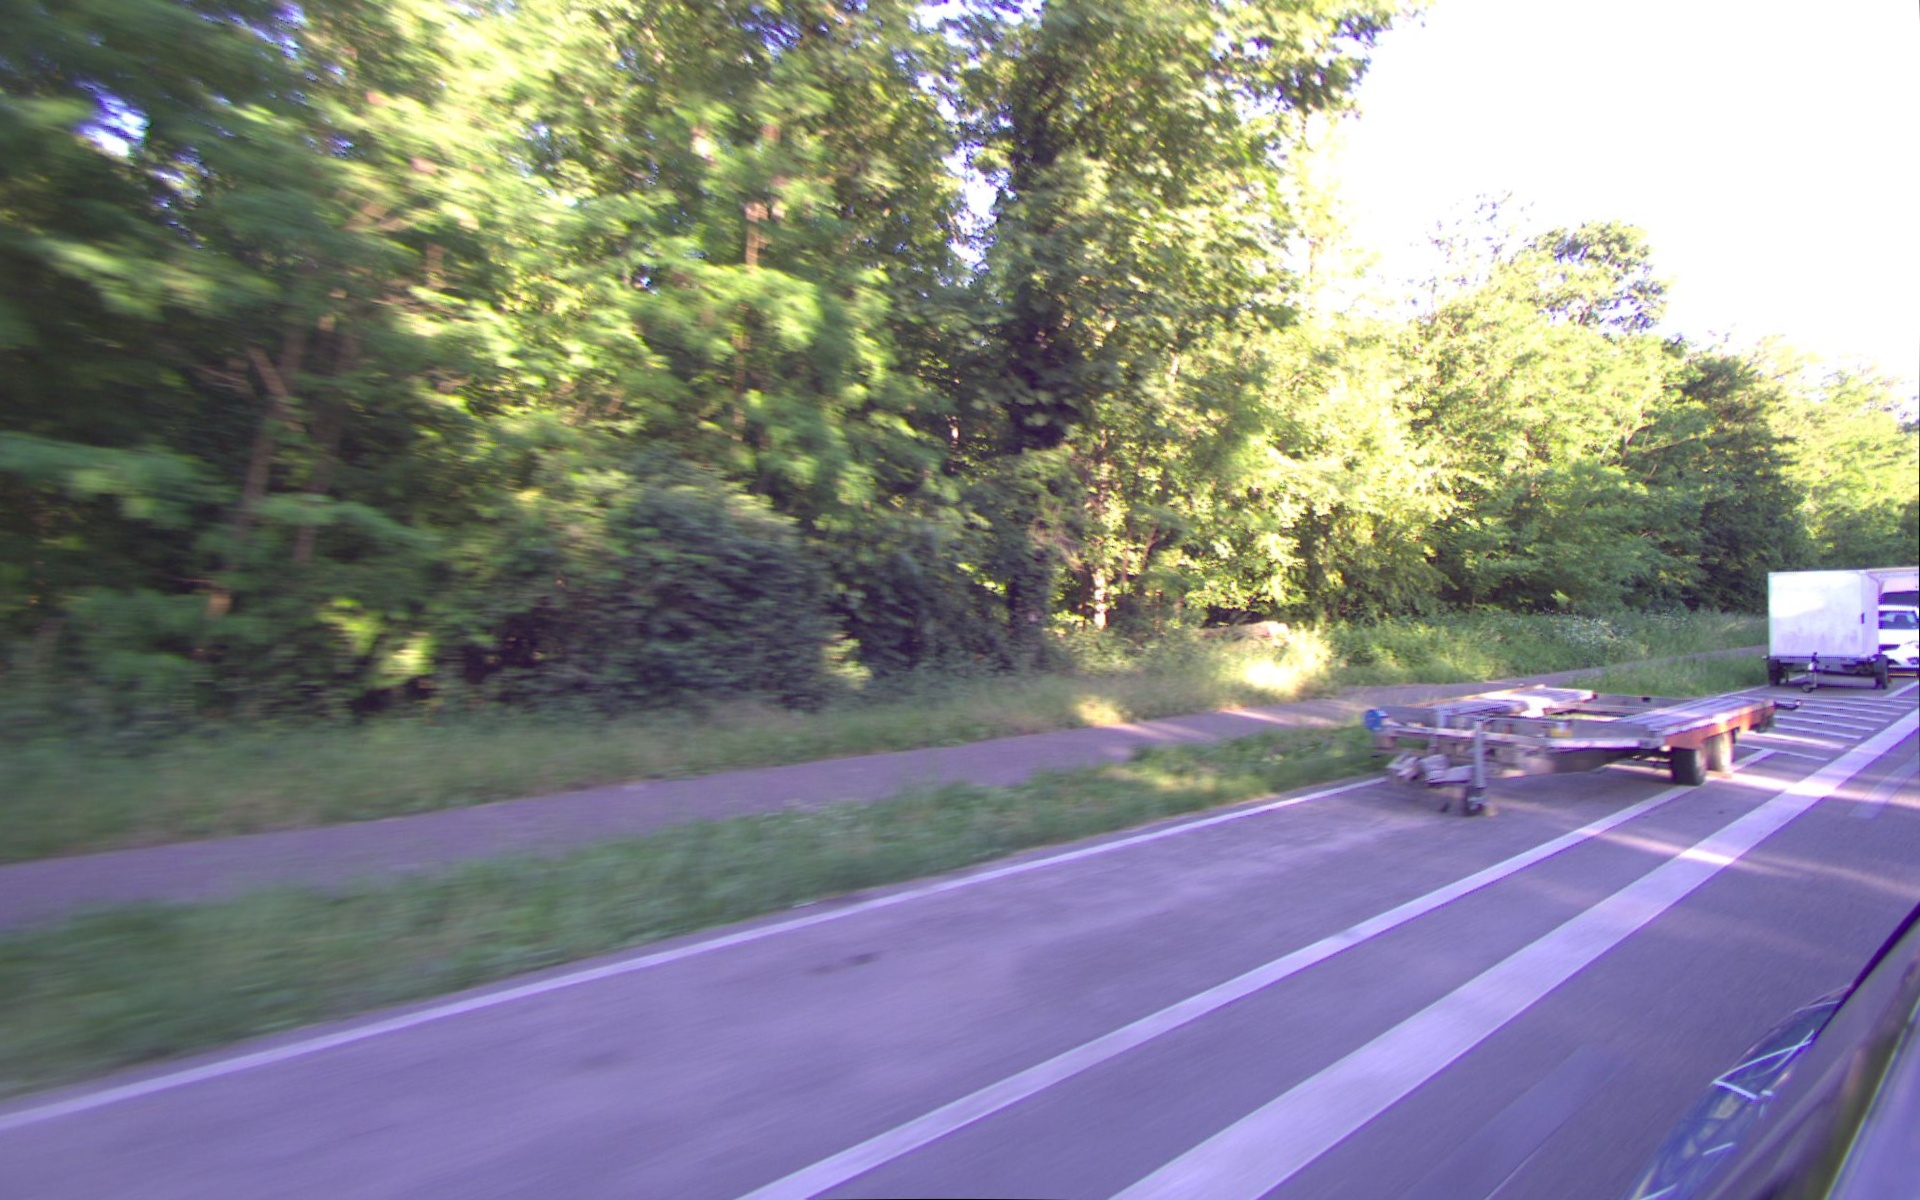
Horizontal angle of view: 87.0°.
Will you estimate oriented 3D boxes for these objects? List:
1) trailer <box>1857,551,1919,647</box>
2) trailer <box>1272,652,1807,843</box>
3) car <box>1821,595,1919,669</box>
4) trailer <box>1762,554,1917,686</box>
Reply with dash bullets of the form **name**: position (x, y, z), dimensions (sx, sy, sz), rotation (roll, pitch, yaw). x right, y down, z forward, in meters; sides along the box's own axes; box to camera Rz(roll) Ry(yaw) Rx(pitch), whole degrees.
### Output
- **trailer**: position (32.570, -0.085, 33.751), dimensions (9.715, 2.878, 2.924), rotation (-1, -1, -42)
- **trailer**: position (5.341, 1.036, 8.911), dimensions (5.561, 0.808, 2.437), rotation (-1, 1, -41)
- **car**: position (20.649, 0.647, 22.350), dimensions (4.490, 1.486, 1.891), rotation (0, 1, -42)
- **trailer**: position (16.196, 0.313, 18.587), dimensions (3.480, 2.189, 1.756), rotation (0, 1, -43)
